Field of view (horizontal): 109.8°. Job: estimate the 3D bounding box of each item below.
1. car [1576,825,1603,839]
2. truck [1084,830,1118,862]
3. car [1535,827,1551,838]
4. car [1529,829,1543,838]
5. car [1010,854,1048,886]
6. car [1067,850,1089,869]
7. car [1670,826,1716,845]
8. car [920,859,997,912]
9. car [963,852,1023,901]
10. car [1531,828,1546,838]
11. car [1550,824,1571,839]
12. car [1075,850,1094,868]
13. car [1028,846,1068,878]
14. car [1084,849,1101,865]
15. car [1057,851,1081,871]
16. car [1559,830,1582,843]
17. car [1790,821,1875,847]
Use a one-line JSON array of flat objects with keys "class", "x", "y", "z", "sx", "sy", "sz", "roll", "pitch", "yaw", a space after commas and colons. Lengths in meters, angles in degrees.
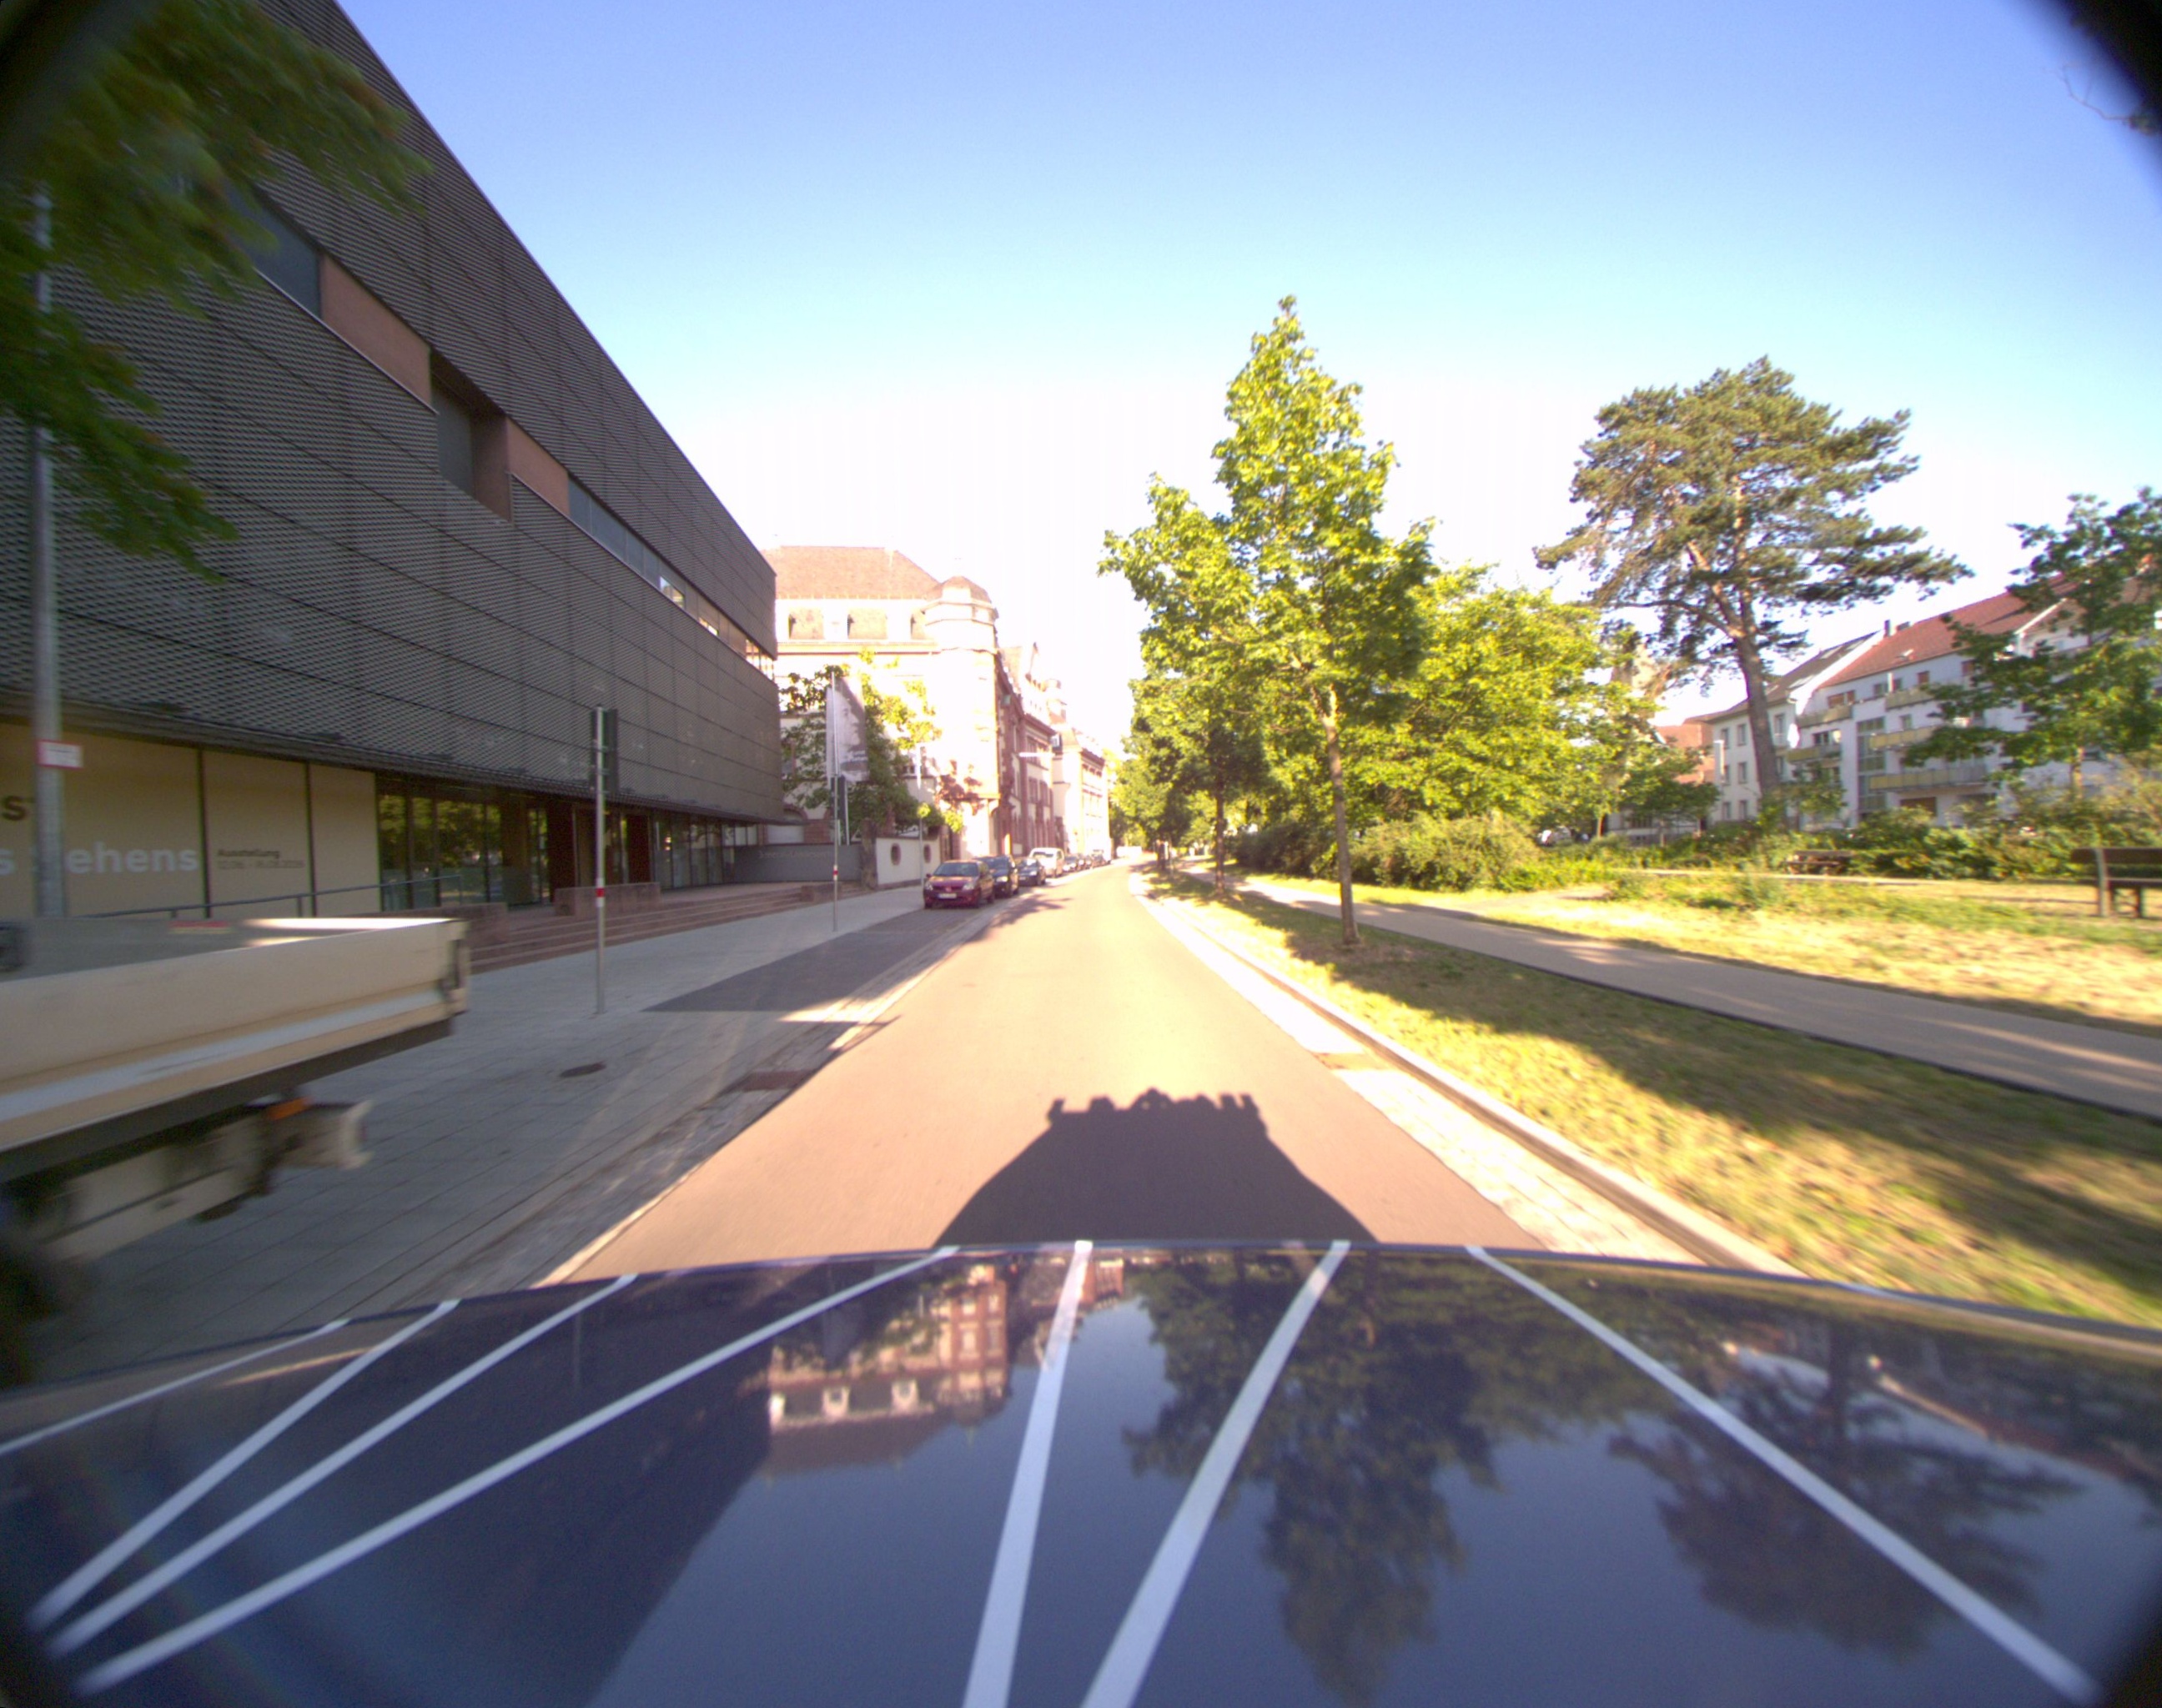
[{"class": "car", "x": 62.201, "y": -2.669, "z": 92.964, "sx": 1.886, "sy": 1.565, "sz": 4.604, "roll": -1, "pitch": 3, "yaw": 23}, {"class": "truck", "x": 2.429, "y": -0.981, "z": 88.274, "sx": 3.019, "sy": 3.423, "sz": 7.626, "roll": -2, "pitch": 1, "yaw": 8}, {"class": "car", "x": 73.767, "y": -3.490, "z": 121.372, "sx": 1.886, "sy": 1.565, "sz": 4.605, "roll": -1, "pitch": 3, "yaw": 26}, {"class": "car", "x": 84.376, "y": -3.756, "z": 141.006, "sx": 1.886, "sy": 1.565, "sz": 4.605, "roll": -1, "pitch": 3, "yaw": 26}, {"class": "car", "x": -2.618, "y": 0.791, "z": 39.048, "sx": 1.510, "sy": 1.437, "sz": 3.730, "roll": -2, "pitch": 1, "yaw": 2}, {"class": "car", "x": -0.234, "y": 0.440, "z": 66.584, "sx": 1.583, "sy": 1.499, "sz": 3.847, "roll": -2, "pitch": 1, "yaw": 3}, {"class": "car", "x": 54.278, "y": -1.689, "z": 67.480, "sx": 1.886, "sy": 1.565, "sz": 4.604, "roll": -1, "pitch": 3, "yaw": 22}, {"class": "car", "x": -3.648, "y": 0.906, "z": 23.171, "sx": 1.610, "sy": 1.349, "sz": 3.547, "roll": -2, "pitch": 1, "yaw": 2}, {"class": "car", "x": -3.241, "y": 0.788, "z": 28.681, "sx": 1.610, "sy": 1.608, "sz": 3.950, "roll": -2, "pitch": 1, "yaw": 2}, {"class": "car", "x": 76.589, "y": -3.560, "z": 127.277, "sx": 1.886, "sy": 1.565, "sz": 4.605, "roll": -1, "pitch": 3, "yaw": 27}, {"class": "car", "x": 68.819, "y": -3.234, "z": 109.089, "sx": 1.886, "sy": 2.114, "sz": 4.604, "roll": -1, "pitch": 3, "yaw": 23}, {"class": "car", "x": 0.332, "y": 0.451, "z": 71.645, "sx": 1.583, "sy": 1.499, "sz": 3.847, "roll": -2, "pitch": 1, "yaw": 3}, {"class": "car", "x": -2.178, "y": 0.504, "z": 51.532, "sx": 2.119, "sy": 1.942, "sz": 4.761, "roll": -2, "pitch": 1, "yaw": 3}, {"class": "car", "x": 1.241, "y": 0.308, "z": 78.654, "sx": 1.583, "sy": 1.499, "sz": 3.847, "roll": -2, "pitch": 1, "yaw": 3}, {"class": "car", "x": -0.917, "y": 0.520, "z": 60.709, "sx": 1.583, "sy": 1.499, "sz": 3.847, "roll": -2, "pitch": 1, "yaw": 3}, {"class": "car", "x": 65.807, "y": -2.354, "z": 102.182, "sx": 1.886, "sy": 1.565, "sz": 4.604, "roll": -1, "pitch": 3, "yaw": 23}, {"class": "car", "x": 49.637, "y": -1.334, "z": 50.340, "sx": 1.887, "sy": 1.565, "sz": 4.602, "roll": -1, "pitch": 2, "yaw": 14}]
